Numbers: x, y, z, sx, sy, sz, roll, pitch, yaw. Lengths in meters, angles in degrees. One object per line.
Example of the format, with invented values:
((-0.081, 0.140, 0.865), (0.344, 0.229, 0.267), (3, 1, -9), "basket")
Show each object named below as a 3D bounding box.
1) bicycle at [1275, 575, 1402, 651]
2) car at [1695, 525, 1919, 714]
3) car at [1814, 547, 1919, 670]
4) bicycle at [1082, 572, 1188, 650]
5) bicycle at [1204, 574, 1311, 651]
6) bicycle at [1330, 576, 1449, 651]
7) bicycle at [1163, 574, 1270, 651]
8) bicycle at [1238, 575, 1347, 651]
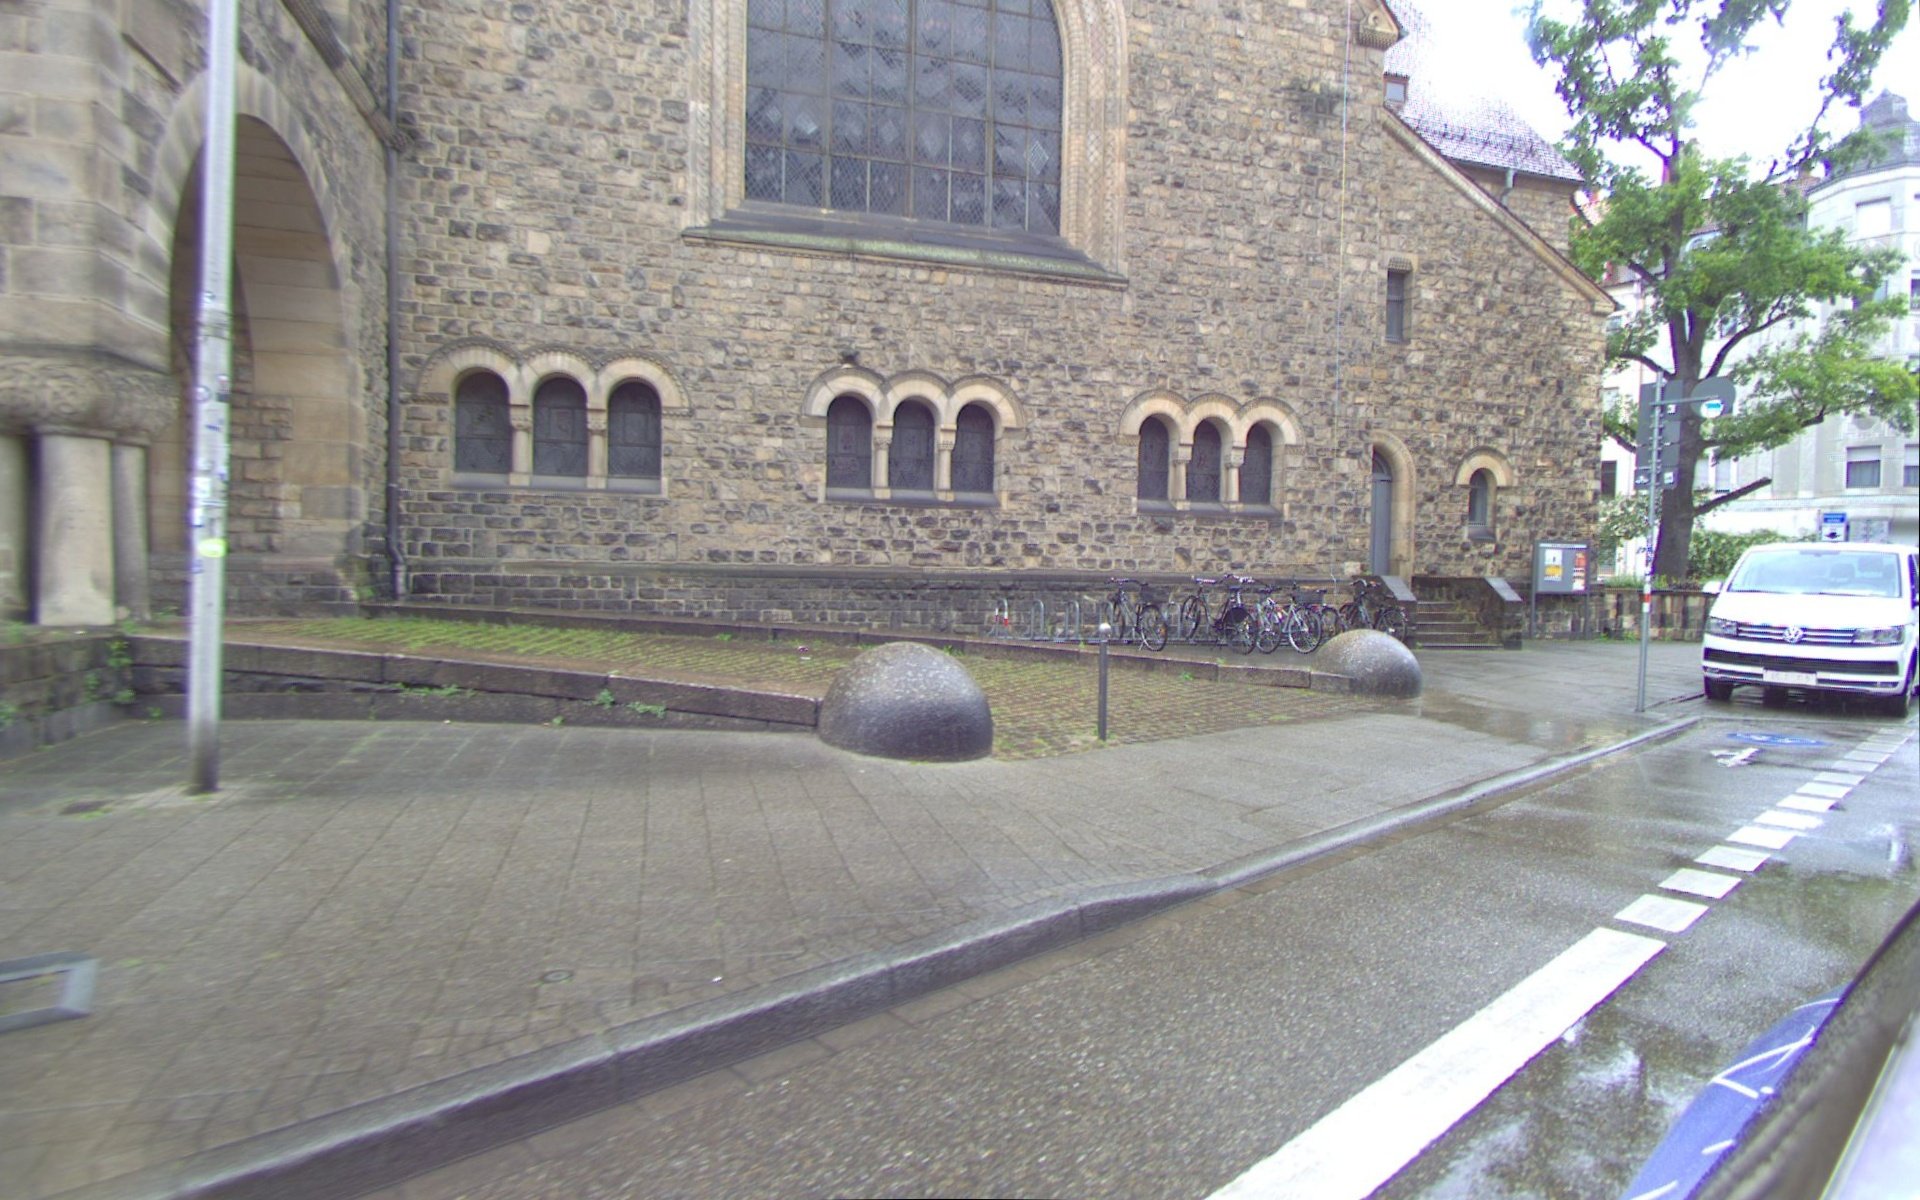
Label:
((6.028, 0.177, 16.275), (0.663, 1.073, 2.161), (1, 3, -19), "bicycle")
((11.206, 0.122, 12.781), (5.180, 1.946, 1.908), (-1, 3, -41), "car")
((16.066, 0.089, 17.065), (4.220, 1.868, 1.837), (-1, 3, -41), "car")
((2.637, 0.130, 15.473), (0.564, 1.062, 2.014), (0, 3, -23), "bicycle")
((4.624, 0.165, 15.880), (0.569, 1.073, 1.933), (1, 3, -19), "bicycle")
((6.932, 0.188, 16.466), (0.593, 1.079, 1.988), (1, 3, -18), "bicycle")
((3.956, 0.164, 15.764), (0.569, 1.073, 1.933), (0, 3, -21), "bicycle")
((5.245, 0.174, 16.095), (0.569, 1.073, 1.933), (1, 3, -19), "bicycle")
